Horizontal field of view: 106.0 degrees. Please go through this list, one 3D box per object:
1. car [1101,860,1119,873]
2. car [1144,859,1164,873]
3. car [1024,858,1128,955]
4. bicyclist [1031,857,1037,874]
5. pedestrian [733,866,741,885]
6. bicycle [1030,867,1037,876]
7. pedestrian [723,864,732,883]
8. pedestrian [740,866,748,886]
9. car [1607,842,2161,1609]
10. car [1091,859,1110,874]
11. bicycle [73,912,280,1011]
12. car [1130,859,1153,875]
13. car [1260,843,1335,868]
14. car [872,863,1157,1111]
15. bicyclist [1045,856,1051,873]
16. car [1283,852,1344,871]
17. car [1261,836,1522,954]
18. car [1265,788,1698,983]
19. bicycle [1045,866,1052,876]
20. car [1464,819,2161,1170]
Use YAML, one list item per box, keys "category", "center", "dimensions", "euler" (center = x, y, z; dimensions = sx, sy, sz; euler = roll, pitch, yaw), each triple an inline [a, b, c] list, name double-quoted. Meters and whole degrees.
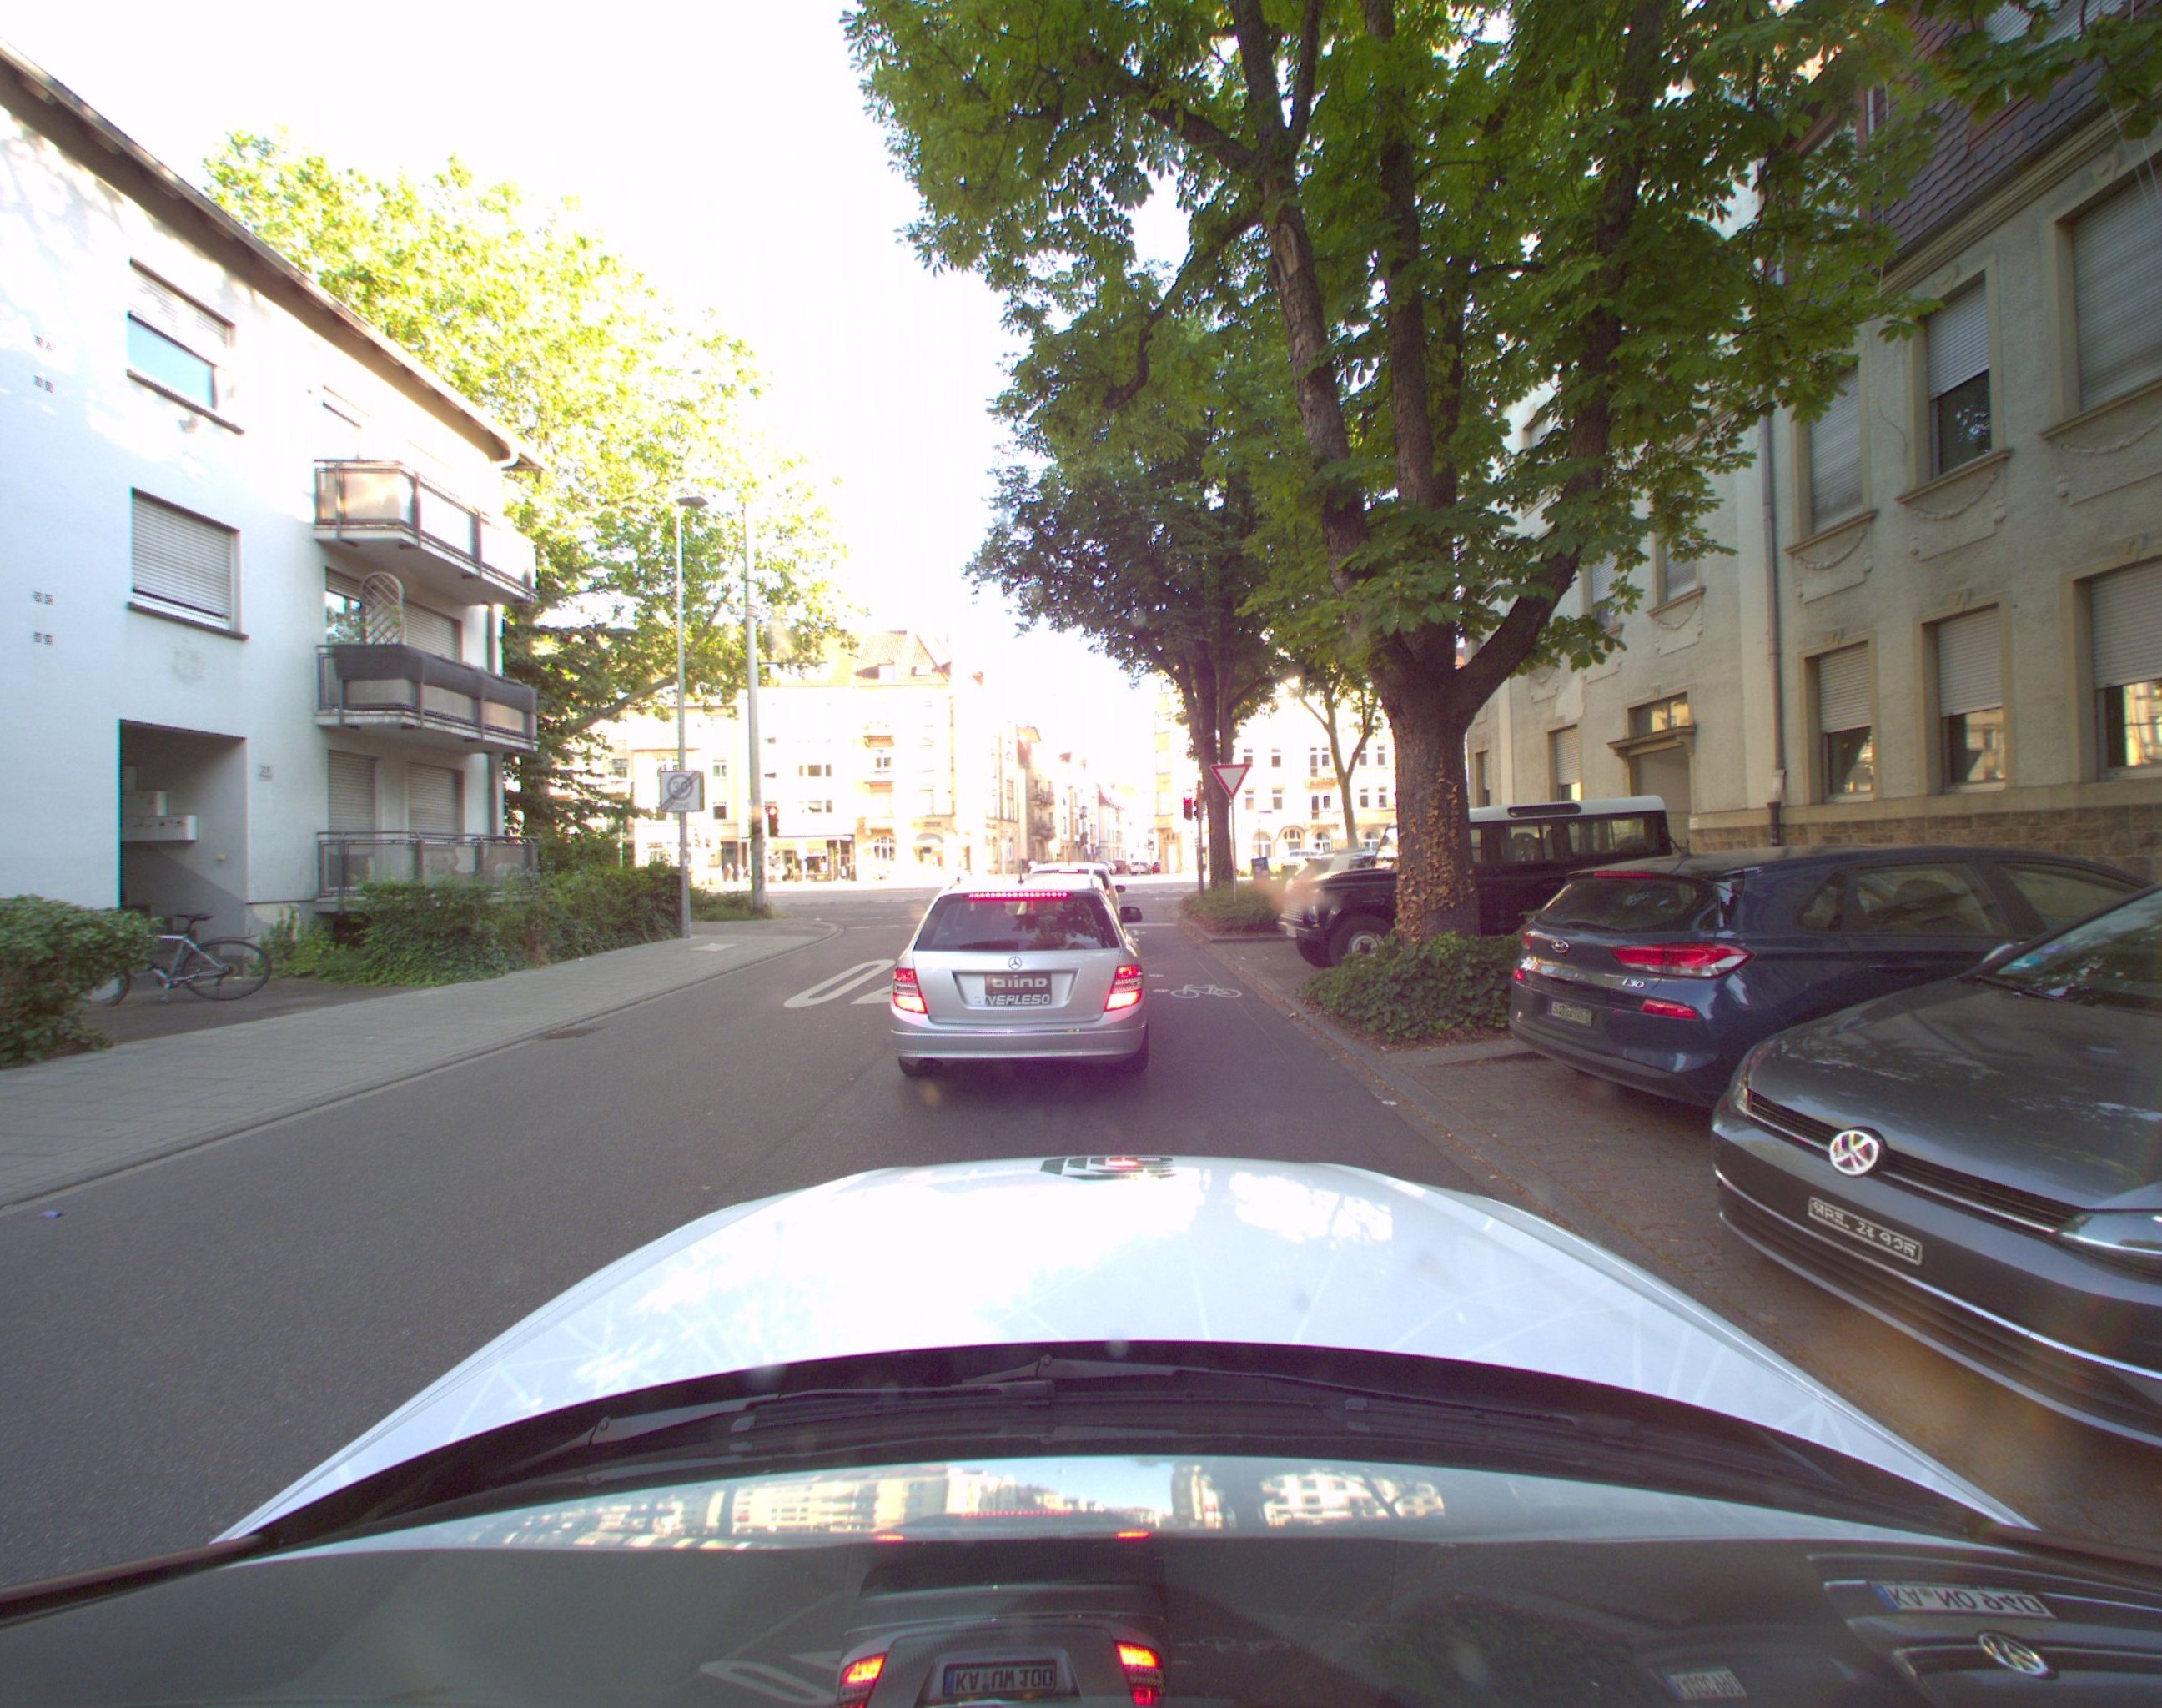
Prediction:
- category: "car"
  center: [3.900, 1.683, 108.810]
  dimensions: [1.639, 1.604, 3.876]
  euler: [-1, -1, 13]
- category: "car"
  center: [9.176, 1.469, 102.064]
  dimensions: [1.709, 1.478, 4.016]
  euler: [-6, -1, 14]
- category: "car"
  center: [-0.063, 0.792, 13.864]
  dimensions: [1.528, 1.391, 3.599]
  euler: [-1, 0, 0]
- category: "bicyclist"
  center: [-4.272, 1.011, 73.644]
  dimensions: [0.465, 1.514, 0.655]
  euler: [-1, 0, -2]
- category: "pedestrian"
  center: [-27.603, 1.742, 65.338]
  dimensions: [0.511, 1.511, 0.532]
  euler: [-1, 0, -26]
- category: "bicycle"
  center: [-4.263, 1.580, 73.504]
  dimensions: [0.567, 0.834, 1.564]
  euler: [-2, 0, -1]
- category: "pedestrian"
  center: [-27.661, 1.519, 63.783]
  dimensions: [0.566, 1.511, 0.499]
  euler: [-1, 0, -17]
- category: "pedestrian"
  center: [-26.711, 1.737, 64.583]
  dimensions: [0.474, 1.511, 0.428]
  euler: [-1, 0, -18]
- category: "car"
  center: [4.070, 0.657, 2.338]
  dimensions: [4.037, 1.422, 1.627]
  euler: [-3, -1, -2]
- category: "car"
  center: [2.522, 1.543, 102.551]
  dimensions: [1.639, 1.783, 3.876]
  euler: [-1, -1, 13]
- category: "bicycle"
  center: [-10.007, 1.156, 9.081]
  dimensions: [1.469, 0.975, 0.402]
  euler: [2, -2, -38]
- category: "car"
  center: [6.417, 1.327, 85.911]
  dimensions: [1.708, 1.478, 4.016]
  euler: [-3, 0, 14]
- category: "car"
  center: [13.717, 0.096, 51.688]
  dimensions: [4.271, 1.461, 1.787]
  euler: [-2, 1, 0]
- category: "car"
  center: [-0.414, 0.805, 6.595]
  dimensions: [1.685, 1.429, 3.491]
  euler: [0, 0, -1]
- category: "bicyclist"
  center: [-3.008, 0.975, 73.793]
  dimensions: [0.465, 1.521, 0.693]
  euler: [-1, 0, -2]
- category: "car"
  center: [14.232, 0.467, 49.895]
  dimensions: [3.352, 1.069, 1.380]
  euler: [-2, 0, 0]
- category: "car"
  center: [4.872, 0.611, 13.070]
  dimensions: [3.475, 1.586, 1.708]
  euler: [-3, 0, -5]
- category: "car"
  center: [4.790, 0.359, 10.194]
  dimensions: [4.478, 1.956, 1.792]
  euler: [-3, 0, -1]
- category: "bicycle"
  center: [-2.964, 1.538, 73.745]
  dimensions: [0.567, 0.834, 1.564]
  euler: [-2, 0, -1]
- category: "car"
  center: [4.401, 0.610, 4.518]
  dimensions: [3.739, 1.422, 1.627]
  euler: [-3, -1, -2]
